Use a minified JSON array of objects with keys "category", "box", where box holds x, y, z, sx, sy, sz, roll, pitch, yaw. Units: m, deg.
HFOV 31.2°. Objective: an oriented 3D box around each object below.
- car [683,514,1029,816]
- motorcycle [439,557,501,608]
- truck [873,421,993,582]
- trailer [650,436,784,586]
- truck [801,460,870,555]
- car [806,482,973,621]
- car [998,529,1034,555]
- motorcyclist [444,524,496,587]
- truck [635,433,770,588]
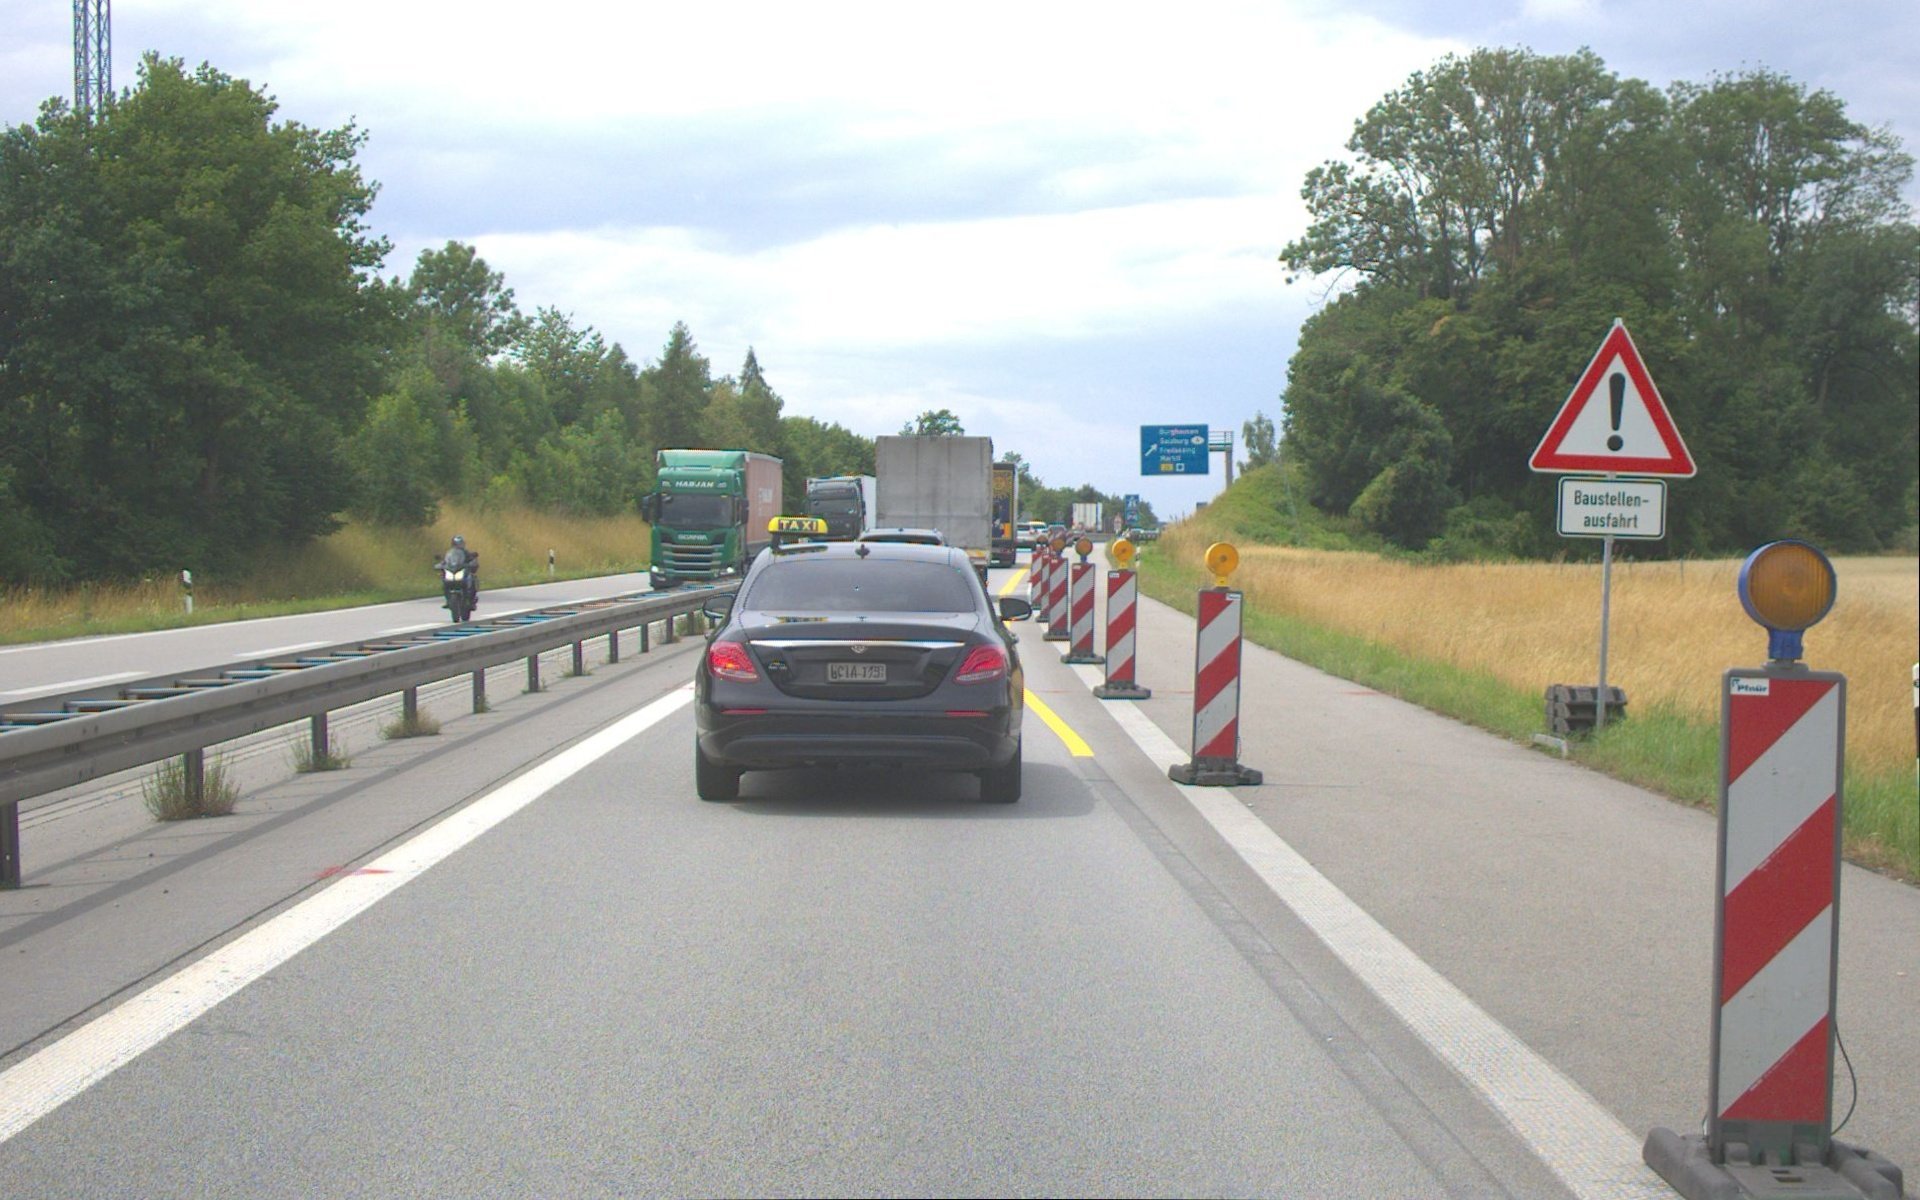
[{"category":"car","box":[-0.523,0.326,20.150,1.796,1.554,4.000,1,0,1]},{"category":"motorcycle","box":[-9.586,-0.351,67.325,0.855,0.931,2.724,1,1,-1]},{"category":"truck","box":[-0.655,-2.212,78.771,2.586,3.512,4.813,1,0,-1]},{"category":"trailer","box":[-7.235,-2.589,103.946,3.150,4.198,11.643,1,0,0]},{"category":"truck","box":[-5.679,-4.205,157.758,2.640,4.156,6.985,1,0,1]},{"category":"car","box":[-1.120,-0.731,52.584,1.993,2.007,4.001,1,0,-9]},{"category":"car","box":[3.123,-3.240,191.344,1.649,1.391,3.706,1,0,-4]},{"category":"motorcyclist","box":[-9.573,-0.868,67.220,0.861,1.205,0.961,1,0,-1]},{"category":"truck","box":[-7.299,-2.504,98.357,3.123,4.198,6.781,1,0,1]}]
